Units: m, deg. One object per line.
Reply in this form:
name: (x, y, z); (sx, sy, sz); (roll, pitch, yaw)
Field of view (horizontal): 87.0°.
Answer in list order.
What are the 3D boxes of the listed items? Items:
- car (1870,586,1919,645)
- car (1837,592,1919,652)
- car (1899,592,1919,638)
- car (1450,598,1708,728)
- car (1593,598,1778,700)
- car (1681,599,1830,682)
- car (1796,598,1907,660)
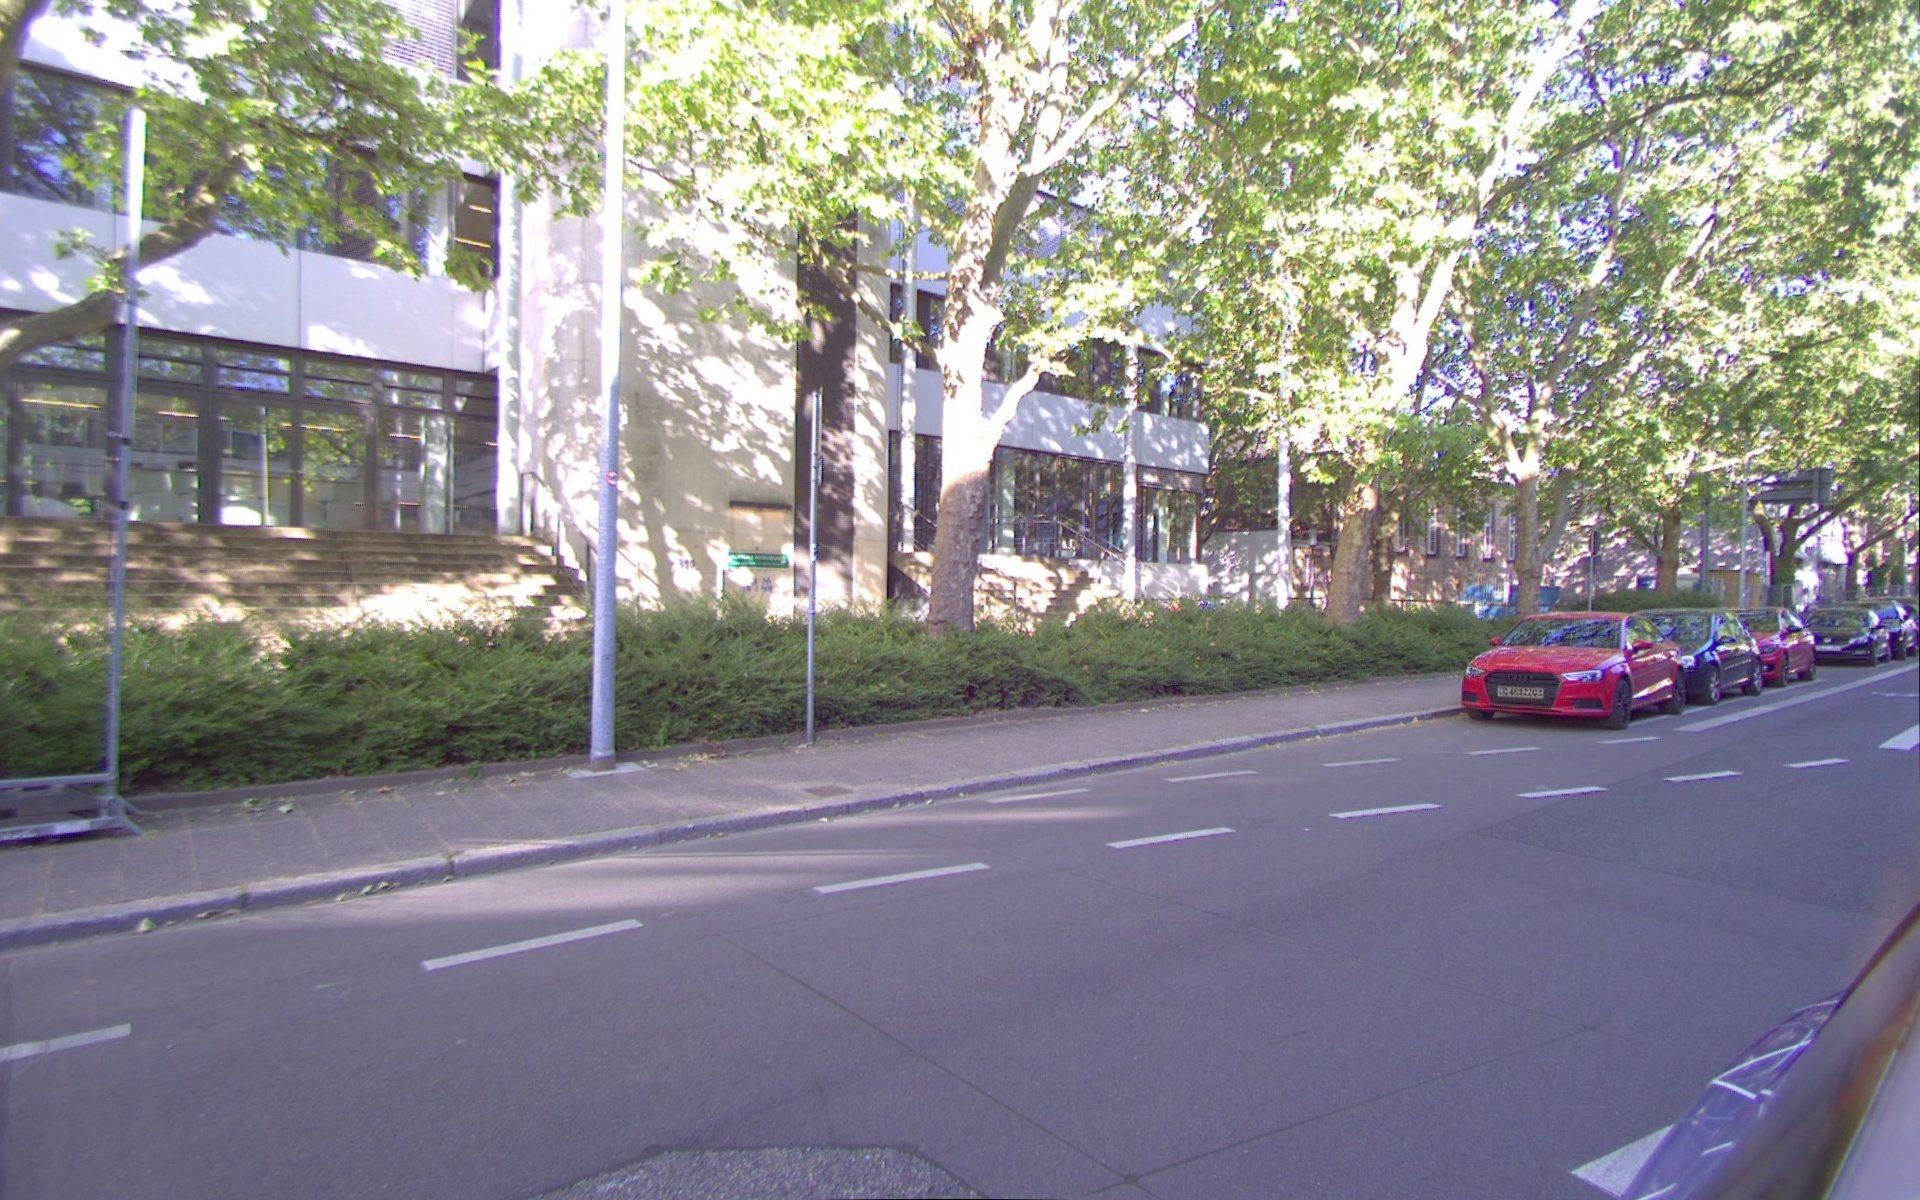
car: (31.174, 0.476, 33.084); (3.777, 1.828, 1.634); (0, -1, -41)
car: (26.589, 0.585, 29.022); (3.777, 1.607, 1.634); (0, -1, -41)
car: (35.950, 0.532, 37.247); (3.777, 1.675, 1.634); (0, -1, -41)
car: (8.358, 0.723, 13.533); (4.053, 1.483, 1.802); (0, -1, -41)
car: (11.900, 0.719, 16.517); (3.674, 1.483, 1.634); (0, -1, -41)
car: (15.711, 0.725, 19.933); (3.674, 1.483, 1.634); (0, -1, -41)
car: (22.874, 0.698, 25.929); (3.674, 1.483, 1.634); (0, -1, -41)
